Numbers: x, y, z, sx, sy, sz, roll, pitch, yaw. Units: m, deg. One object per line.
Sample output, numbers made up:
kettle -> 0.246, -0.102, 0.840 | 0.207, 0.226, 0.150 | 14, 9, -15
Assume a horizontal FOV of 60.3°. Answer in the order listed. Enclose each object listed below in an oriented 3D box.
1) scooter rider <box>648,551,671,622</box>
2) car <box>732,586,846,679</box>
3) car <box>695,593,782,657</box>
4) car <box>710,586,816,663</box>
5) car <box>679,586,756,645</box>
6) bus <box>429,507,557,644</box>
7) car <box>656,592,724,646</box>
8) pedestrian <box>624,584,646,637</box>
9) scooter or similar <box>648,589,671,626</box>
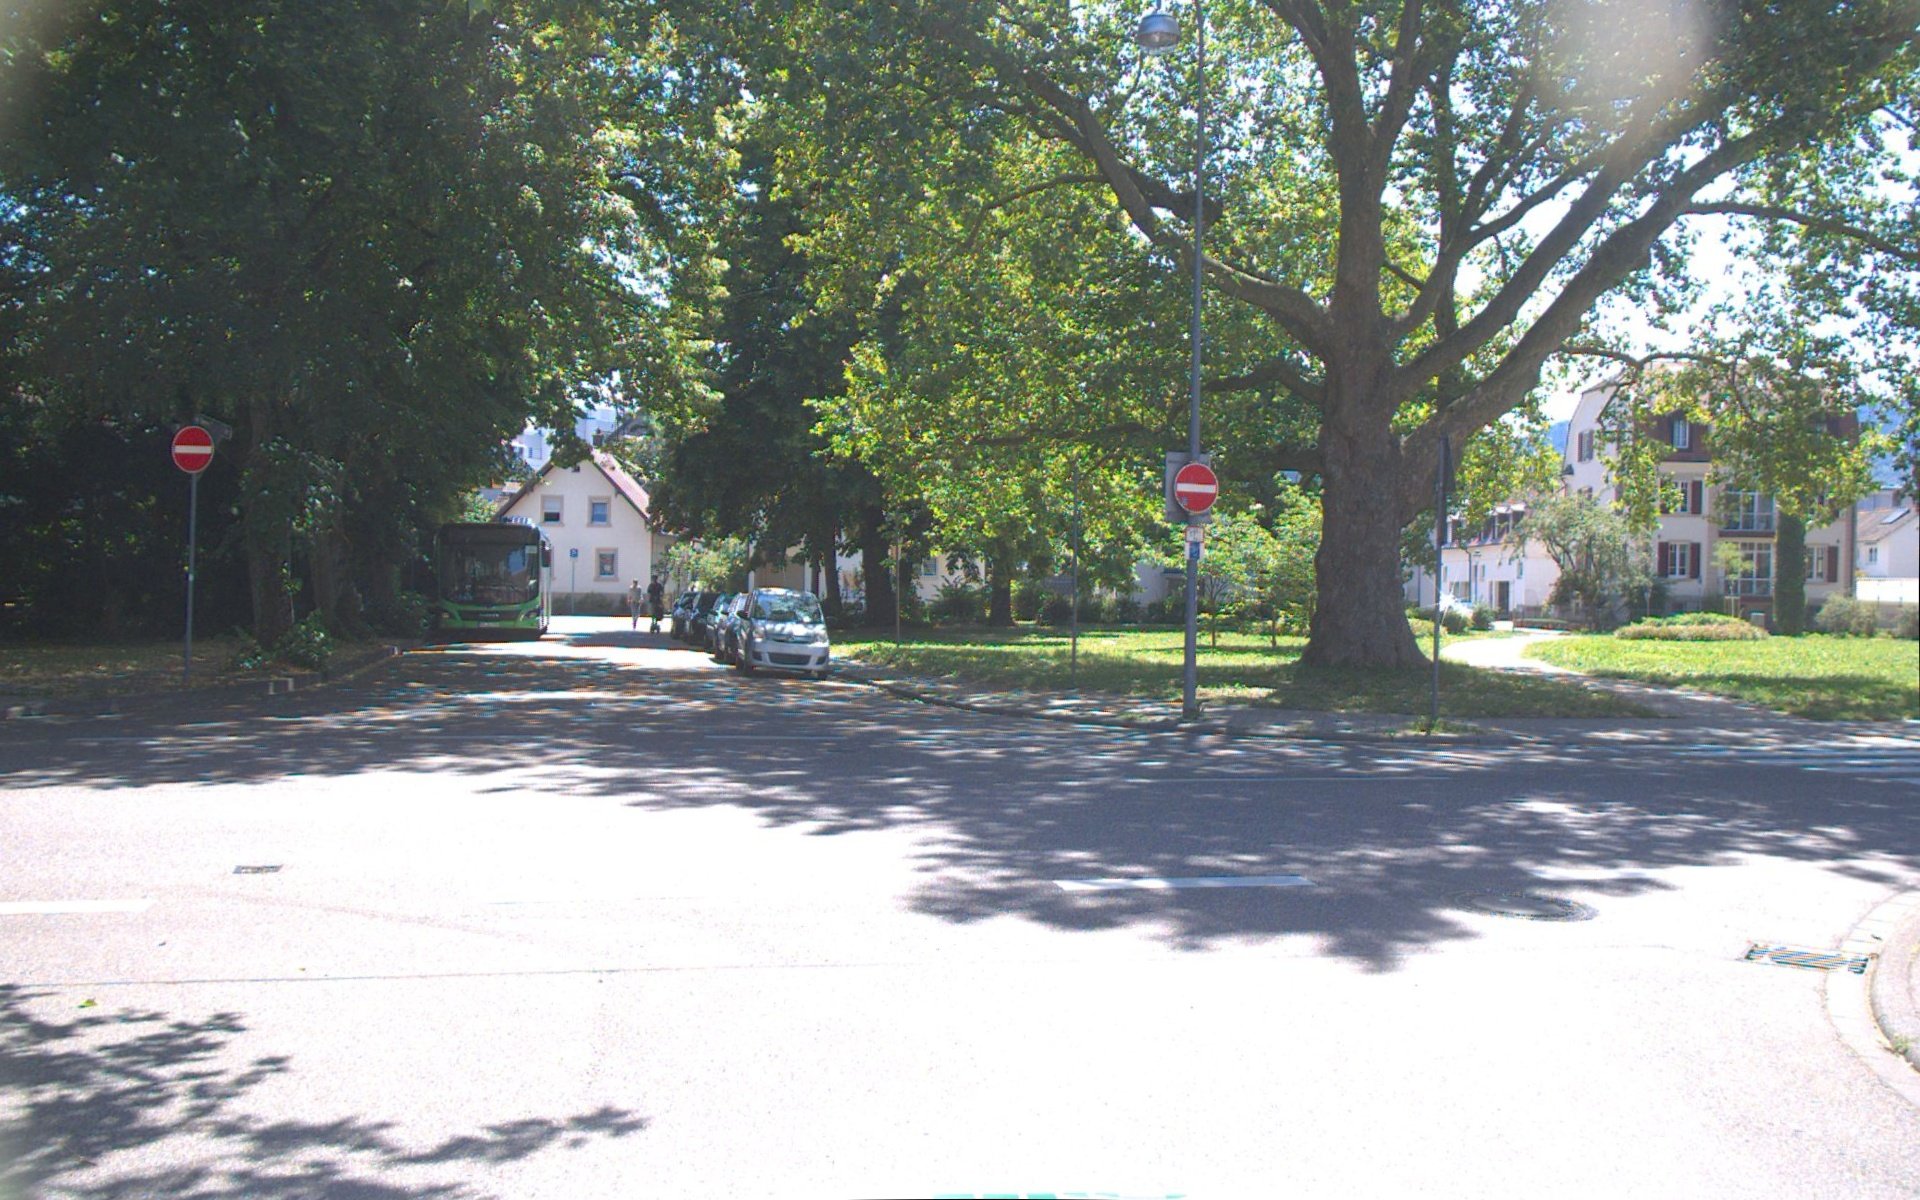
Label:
scooter rider -> -10.119, -0.451, 55.721 | 0.725, 2.358, 0.924 | 0, 0, -12
car -> -3.123, 0.540, 29.665 | 1.567, 1.523, 3.474 | 2, 0, -13
car -> -5.609, 0.581, 41.439 | 1.720, 1.464, 4.754 | 1, 0, -13
car -> -4.252, 0.479, 35.216 | 1.720, 1.464, 4.488 | 2, 0, -13
car -> -6.786, 0.393, 46.026 | 1.724, 1.519, 4.360 | 1, 0, -13
bus -> -13.483, -0.679, 48.876 | 2.818, 3.352, 15.898 | 1, 0, -13
car -> -8.171, 0.534, 49.891 | 1.724, 1.519, 3.904 | 1, 0, -13
pedestrian -> -11.438, 0.371, 58.241 | 0.706, 1.833, 0.939 | 1, 0, -8
scooter or similar -> -10.128, 0.249, 55.714 | 0.725, 1.204, 1.514 | 0, 1, -12
